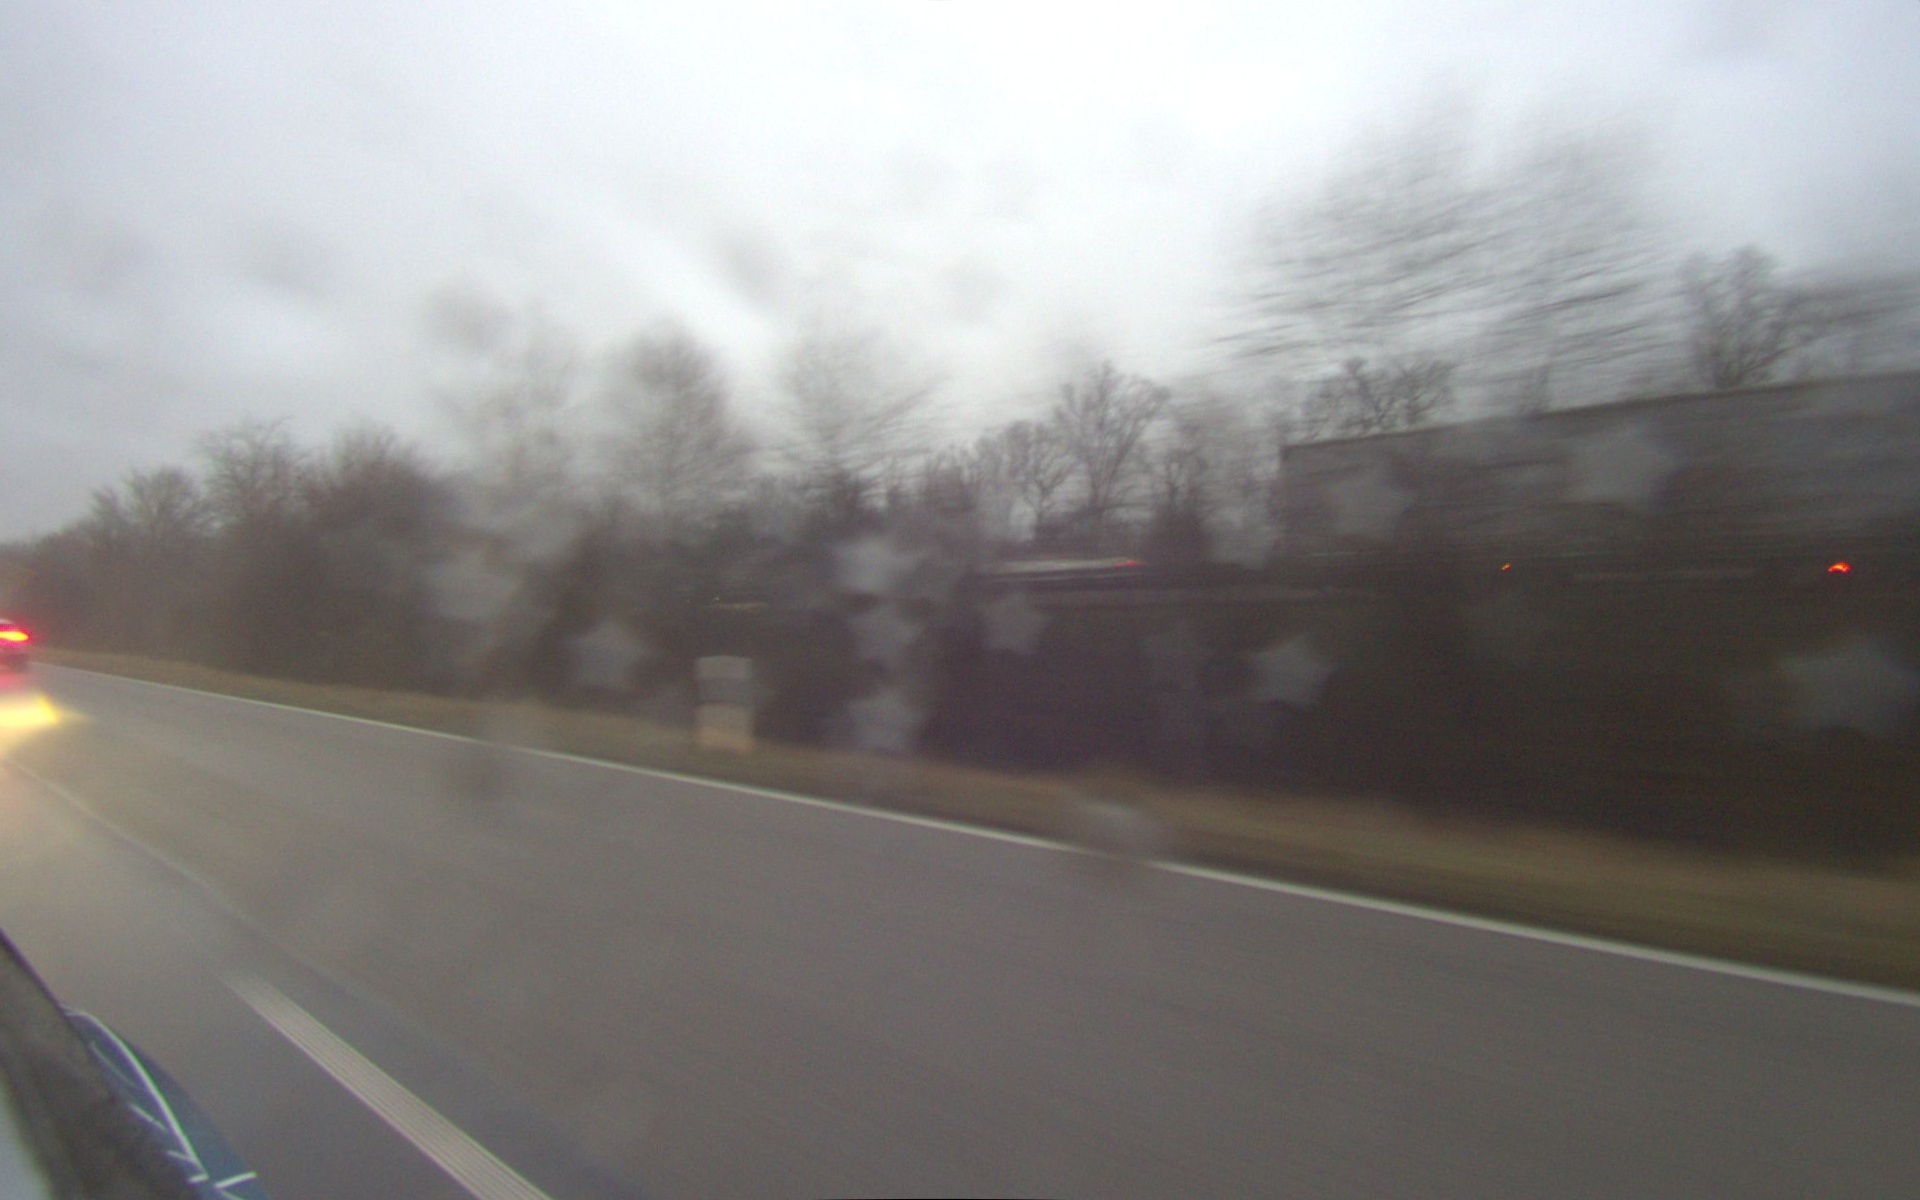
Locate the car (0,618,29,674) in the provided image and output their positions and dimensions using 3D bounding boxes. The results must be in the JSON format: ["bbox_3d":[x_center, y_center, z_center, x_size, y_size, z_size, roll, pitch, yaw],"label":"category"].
[{"bbox_3d":[-28.321,1.292,29.131,4.406,1.548,1.789,-1,-2,41],"label":"car"}]

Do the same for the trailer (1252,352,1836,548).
[{"bbox_3d":[12.309,-2.931,22.735,11.080,2.913,2.410,-1,-1,41],"label":"trailer"}]

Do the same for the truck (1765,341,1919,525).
[{"bbox_3d":[17.869,-3.018,17.879,5.581,2.909,2.424,-1,-1,41],"label":"truck"}]
